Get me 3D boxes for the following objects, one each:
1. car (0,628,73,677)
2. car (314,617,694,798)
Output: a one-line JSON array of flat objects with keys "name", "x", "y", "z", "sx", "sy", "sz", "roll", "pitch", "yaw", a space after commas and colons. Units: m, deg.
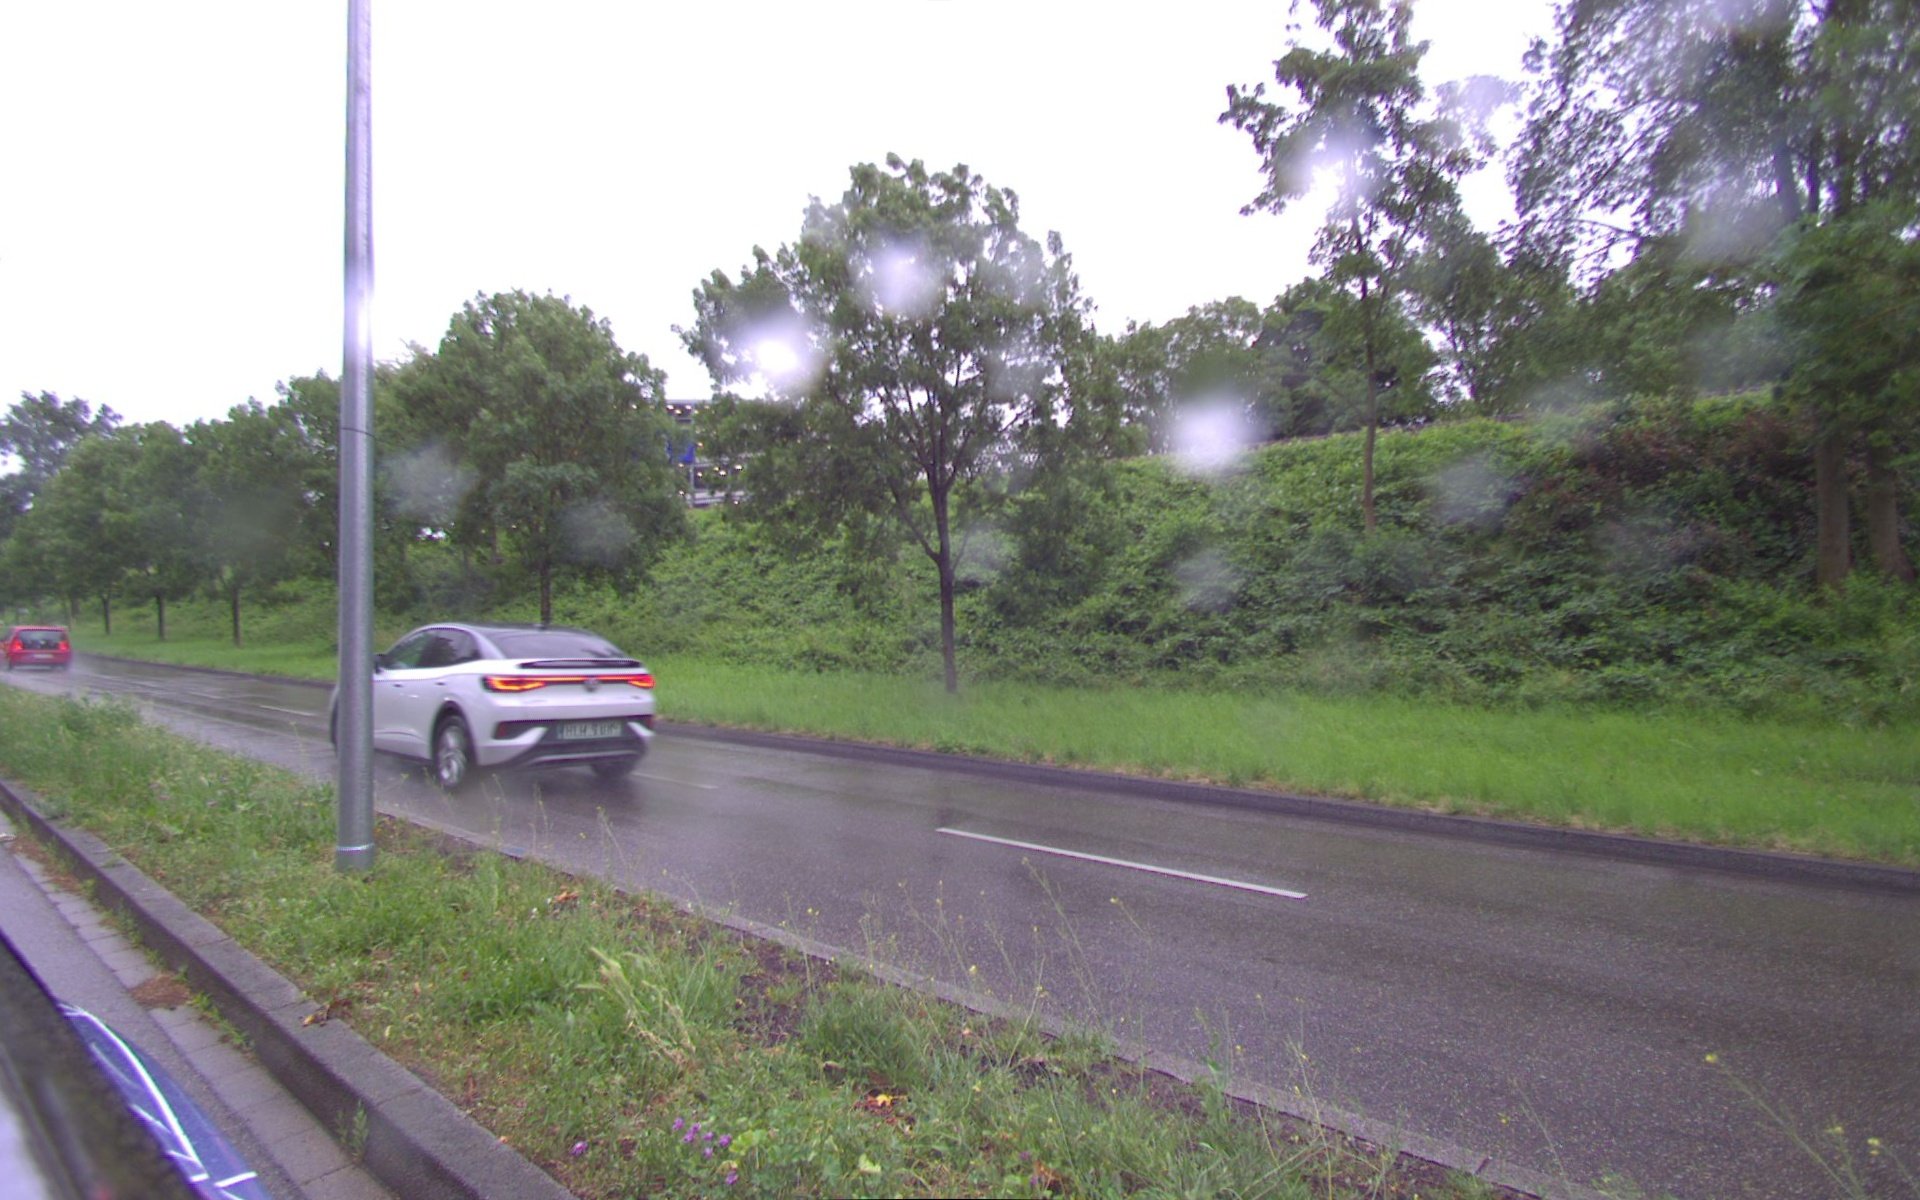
[{"name": "car", "x": -30.835, "y": 1.713, "z": 33.518, "sx": 3.613, "sy": 1.525, "sz": 1.697, "roll": -2, "pitch": -4, "yaw": 42}, {"name": "car", "x": -4.946, "y": 1.010, "z": 10.731, "sx": 4.330, "sy": 1.537, "sz": 1.943, "roll": -2, "pitch": -4, "yaw": 39}]
